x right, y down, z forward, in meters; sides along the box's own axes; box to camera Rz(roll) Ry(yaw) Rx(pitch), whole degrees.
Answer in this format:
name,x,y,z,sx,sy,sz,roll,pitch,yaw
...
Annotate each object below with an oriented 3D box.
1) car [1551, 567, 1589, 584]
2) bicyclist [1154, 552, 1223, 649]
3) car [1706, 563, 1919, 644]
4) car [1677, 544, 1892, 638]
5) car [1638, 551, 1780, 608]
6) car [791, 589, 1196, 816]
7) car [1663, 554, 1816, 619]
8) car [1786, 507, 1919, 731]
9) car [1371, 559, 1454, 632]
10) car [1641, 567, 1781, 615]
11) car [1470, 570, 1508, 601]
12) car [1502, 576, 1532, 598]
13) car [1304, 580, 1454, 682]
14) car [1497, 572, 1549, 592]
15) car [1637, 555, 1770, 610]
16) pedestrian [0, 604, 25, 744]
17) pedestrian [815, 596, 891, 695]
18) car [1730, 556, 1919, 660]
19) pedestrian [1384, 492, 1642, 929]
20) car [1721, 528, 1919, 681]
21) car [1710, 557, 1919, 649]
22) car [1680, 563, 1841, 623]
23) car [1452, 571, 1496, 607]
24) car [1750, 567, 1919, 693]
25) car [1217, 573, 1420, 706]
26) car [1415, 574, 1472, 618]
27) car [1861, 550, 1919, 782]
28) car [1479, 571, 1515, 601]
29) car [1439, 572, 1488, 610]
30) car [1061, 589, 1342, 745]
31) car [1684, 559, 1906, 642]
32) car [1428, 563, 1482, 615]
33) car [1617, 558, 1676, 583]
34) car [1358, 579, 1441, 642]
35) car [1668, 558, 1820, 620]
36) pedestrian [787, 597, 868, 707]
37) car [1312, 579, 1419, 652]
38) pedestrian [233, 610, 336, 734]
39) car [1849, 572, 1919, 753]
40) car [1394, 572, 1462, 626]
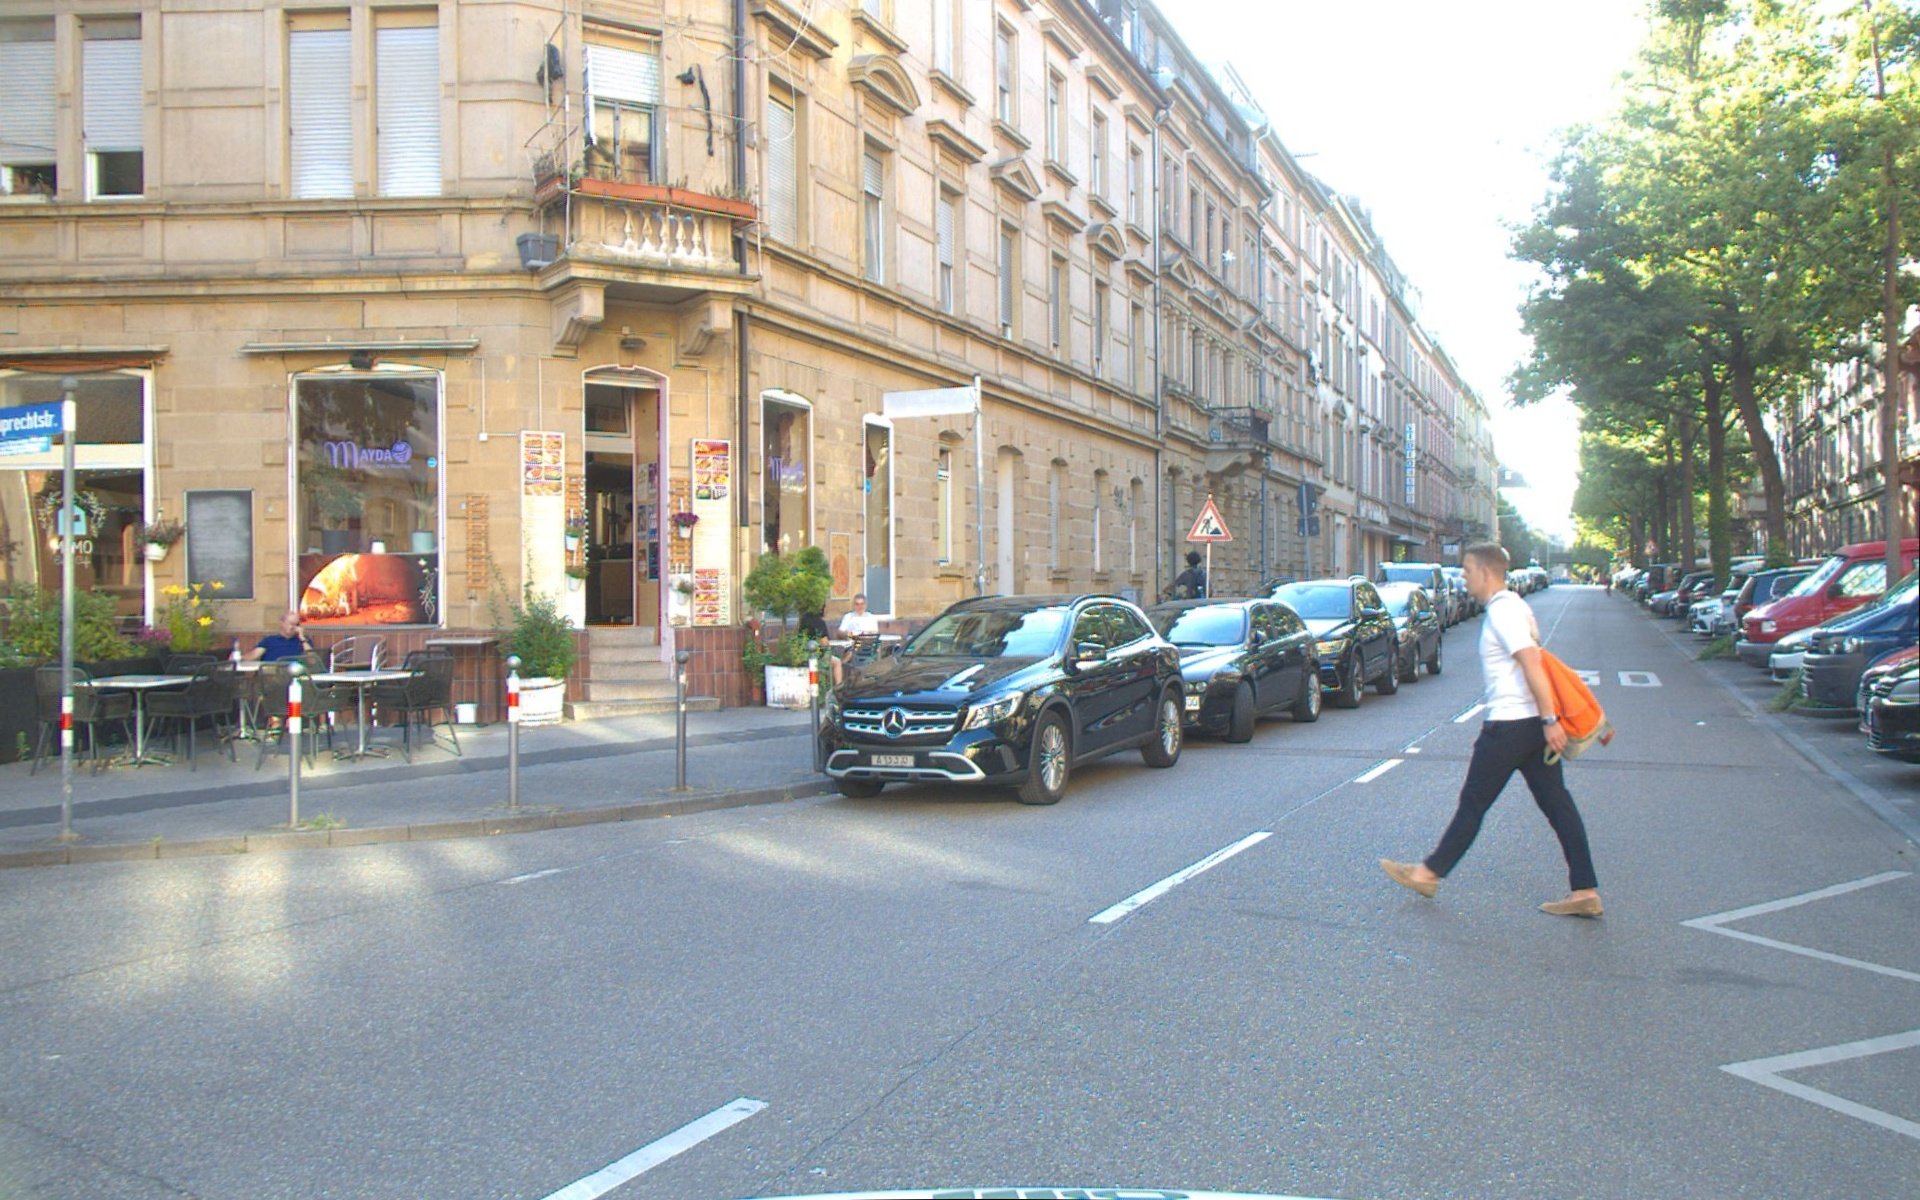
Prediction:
name,x,y,z,sx,sy,sz,roll,pitch,yaw
car,71.090,-2.842,192.847,3.912,1.891,1.748,0,1,30
bicyclist,4.420,0.002,31.966,0.976,1.821,1.207,-2,1,25
car,18.291,0.088,35.545,3.928,1.459,1.795,-4,-1,21
car,19.943,-0.223,40.196,4.351,1.957,1.851,-4,1,19
car,29.670,-0.816,65.660,4.953,1.959,1.835,-3,0,21
car,0.457,0.701,13.375,1.723,1.514,4.136,-2,0,25
car,24.498,-0.423,52.164,4.133,1.807,1.836,-3,0,20
car,11.363,0.168,17.001,4.917,2.253,1.993,-1,0,21
car,13.117,-0.179,47.707,1.794,1.977,5.261,1,1,21
car,25.867,-0.325,57.088,4.132,1.428,1.836,-3,0,17
car,27.116,-0.742,84.751,1.722,1.498,4.061,-1,1,20
car,40.333,-0.913,119.758,1.952,1.512,4.000,-1,-1,20
car,7.077,0.474,27.651,1.723,1.527,4.058,-2,0,24
car,44.095,-1.395,129.484,3.957,1.512,1.974,0,-1,-37
car,27.970,-0.637,62.316,4.133,1.826,1.835,-3,0,2
pedestrian,-9.803,0.743,16.657,0.470,1.391,0.434,-1,1,13
pedestrian,-1.363,0.573,21.132,0.710,1.235,0.757,-1,0,19
car,15.684,0.113,28.720,4.103,1.656,1.836,-3,-1,25
pedestrian,2.653,0.491,7.916,1.091,1.932,0.843,-1,0,21
car,13.753,0.022,24.072,4.577,2.069,1.880,-3,-1,18
car,17.368,0.059,33.272,3.927,1.656,1.805,-3,-1,20
car,22.783,-0.185,47.216,3.928,1.493,1.734,-3,-1,21
car,23.126,-0.522,74.371,1.722,1.498,4.061,-1,1,20
car,12.622,0.337,21.562,3.970,1.536,1.879,-3,-1,21
car,5.056,0.476,22.846,1.723,1.628,4.547,-2,0,25
car,17.440,-0.179,59.529,1.722,1.492,4.002,1,2,19
car,9.291,0.401,12.109,4.596,1.708,1.849,-3,-1,27
car,28.951,-0.762,89.156,1.722,1.498,4.061,-1,1,20
car,20.940,-0.402,68.674,1.722,1.498,4.061,-1,1,20
car,2.812,0.655,18.289,1.724,1.477,4.546,-2,0,26
car,18.989,0.006,37.820,4.254,1.583,1.851,-4,1,21
car,19.159,-0.454,63.944,1.722,1.874,4.531,-1,1,20
car,49.537,-2.103,119.392,3.770,1.601,1.718,-3,0,21
car,11.312,0.233,42.431,1.560,1.501,3.699,1,1,23
car,23.417,-0.326,49.551,3.928,1.635,1.734,-3,-1,21
pedestrian,-1.597,0.616,19.985,0.710,1.281,0.757,-1,0,19
car,9.438,0.324,38.261,1.723,1.527,4.059,-2,0,23
pedestrian,-6.945,0.729,17.036,0.710,1.235,0.757,-1,0,2
car,10.146,0.517,14.421,4.022,1.561,1.724,-1,0,22
car,15.113,-0.075,53.293,1.717,1.636,4.384,1,1,21
